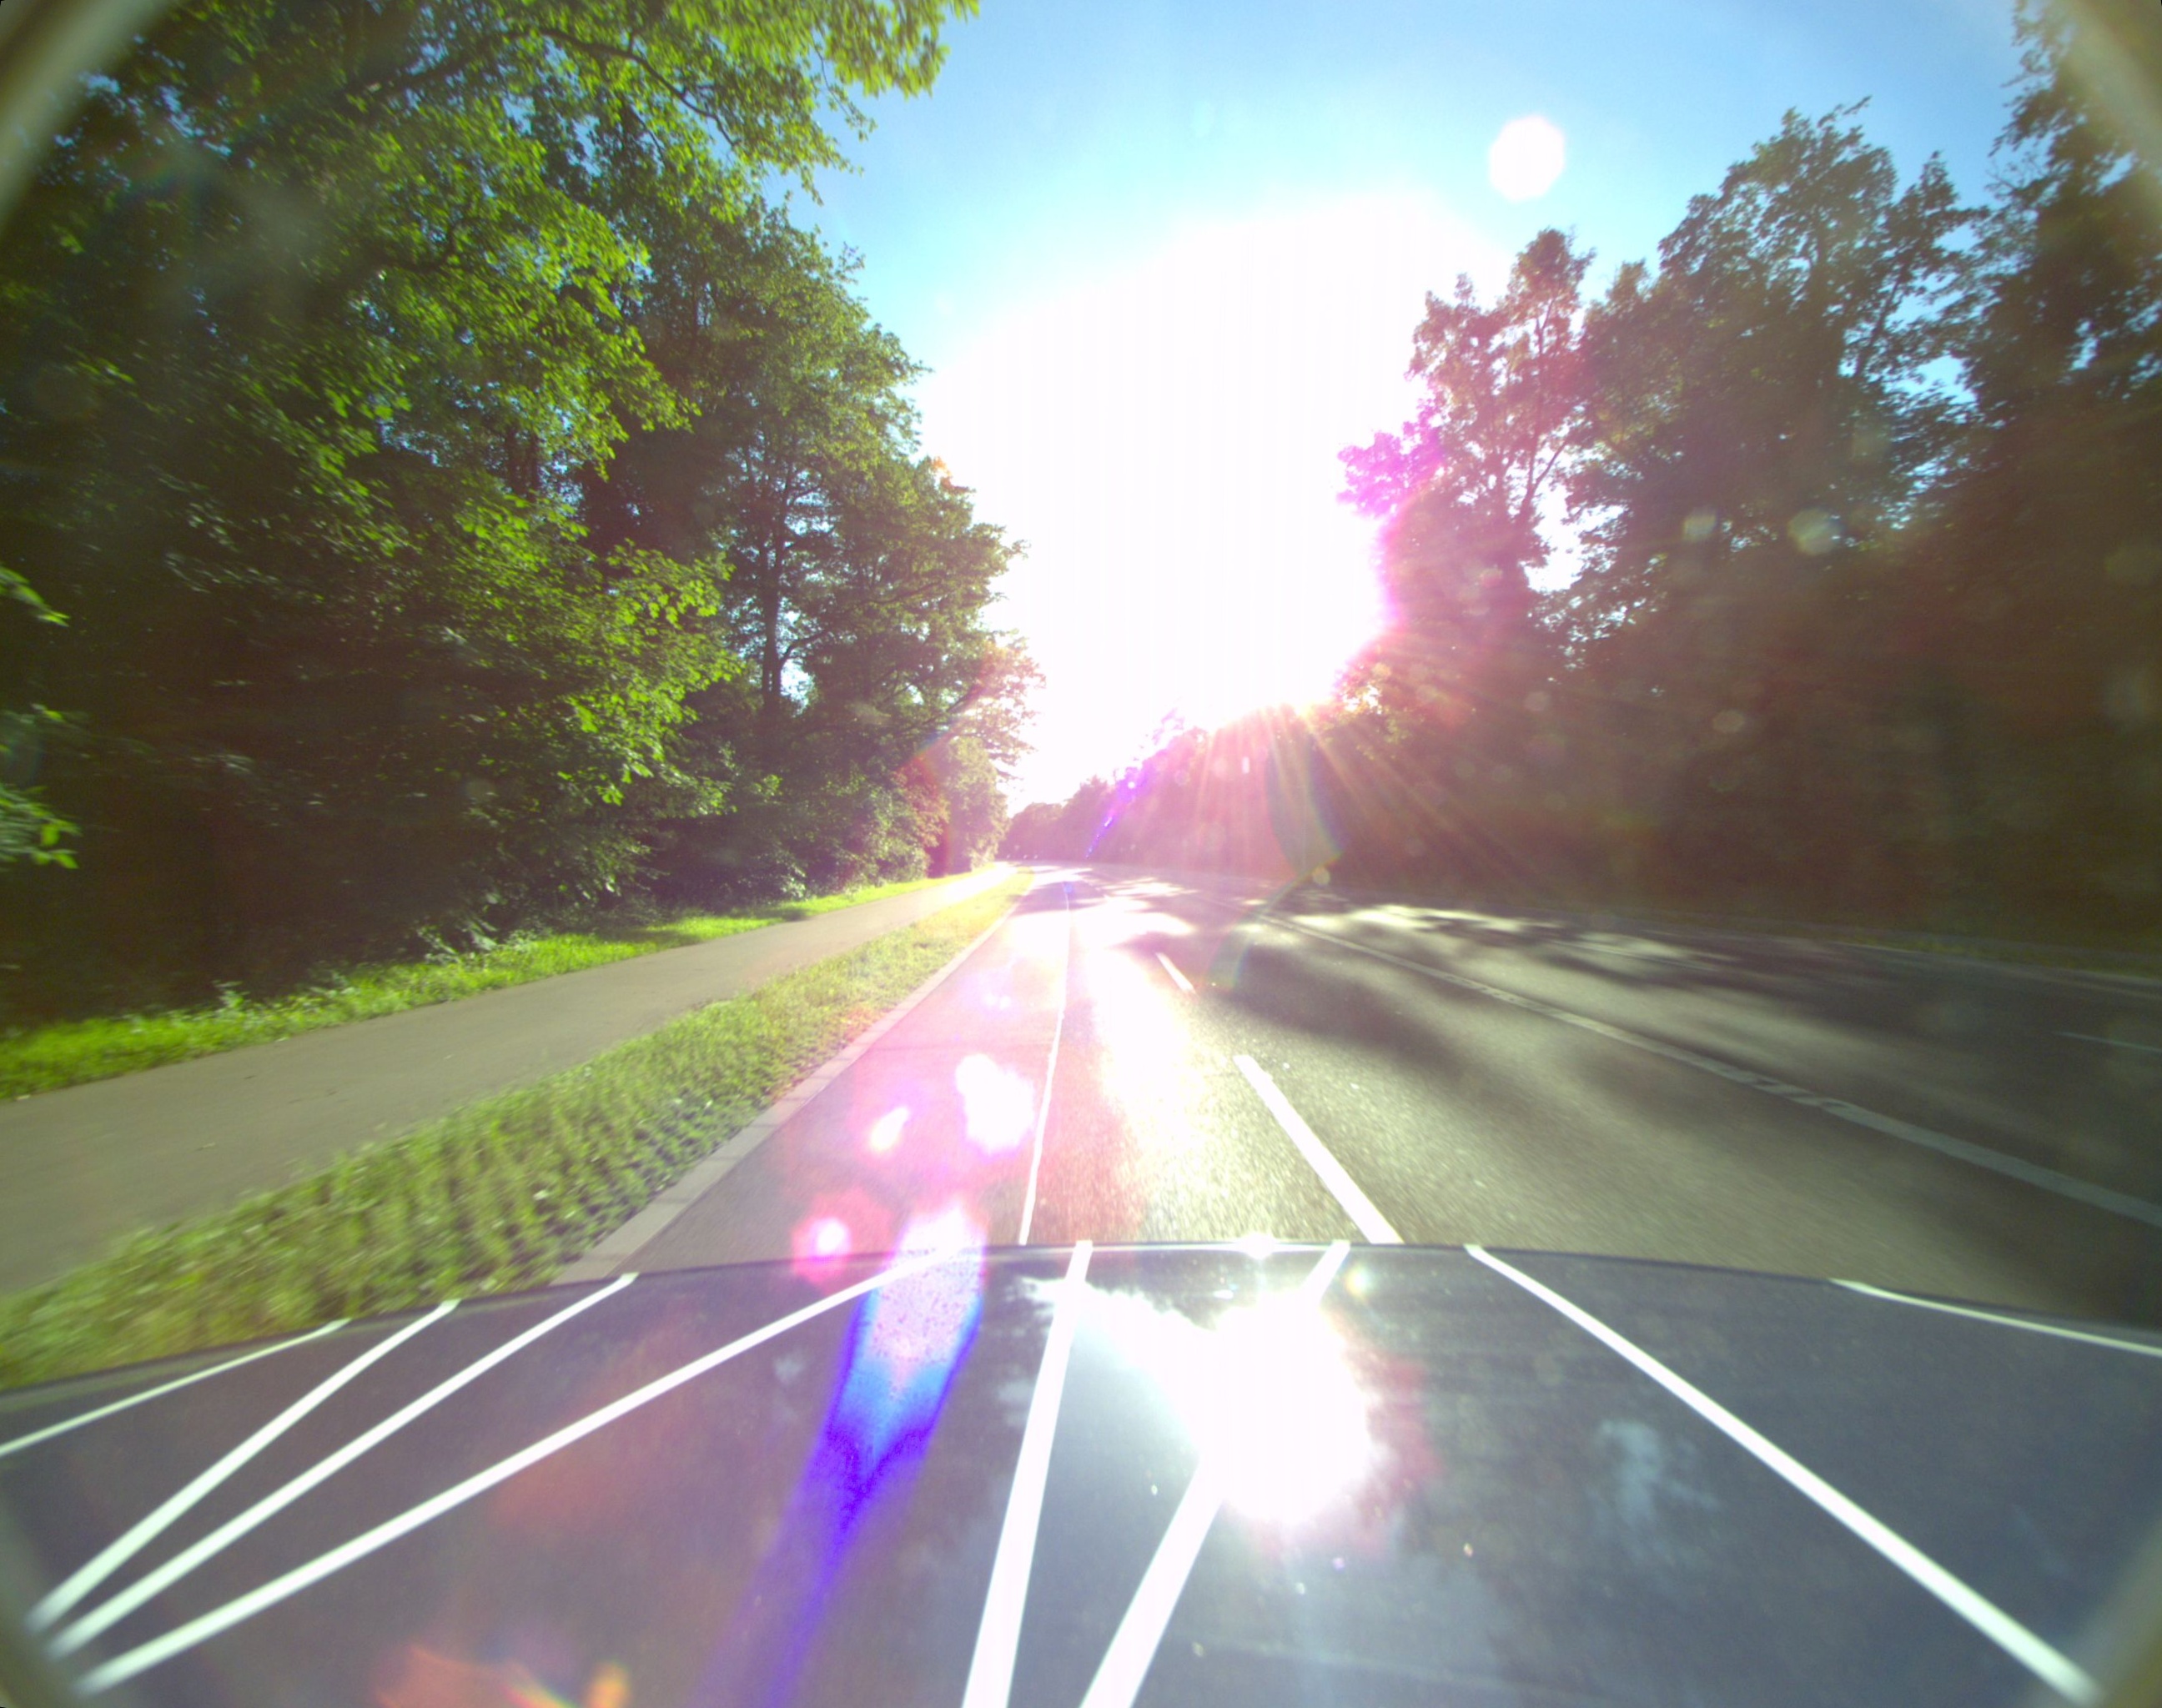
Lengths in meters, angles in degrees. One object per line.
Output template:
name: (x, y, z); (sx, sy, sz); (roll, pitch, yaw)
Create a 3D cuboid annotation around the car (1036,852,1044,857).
car: (-11.860, 0.091, 219.762); (1.663, 1.472, 4.167); (-2, 0, -13)

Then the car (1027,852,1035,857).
car: (-15.818, 0.259, 239.154); (1.745, 1.449, 3.994); (-3, 1, -15)
